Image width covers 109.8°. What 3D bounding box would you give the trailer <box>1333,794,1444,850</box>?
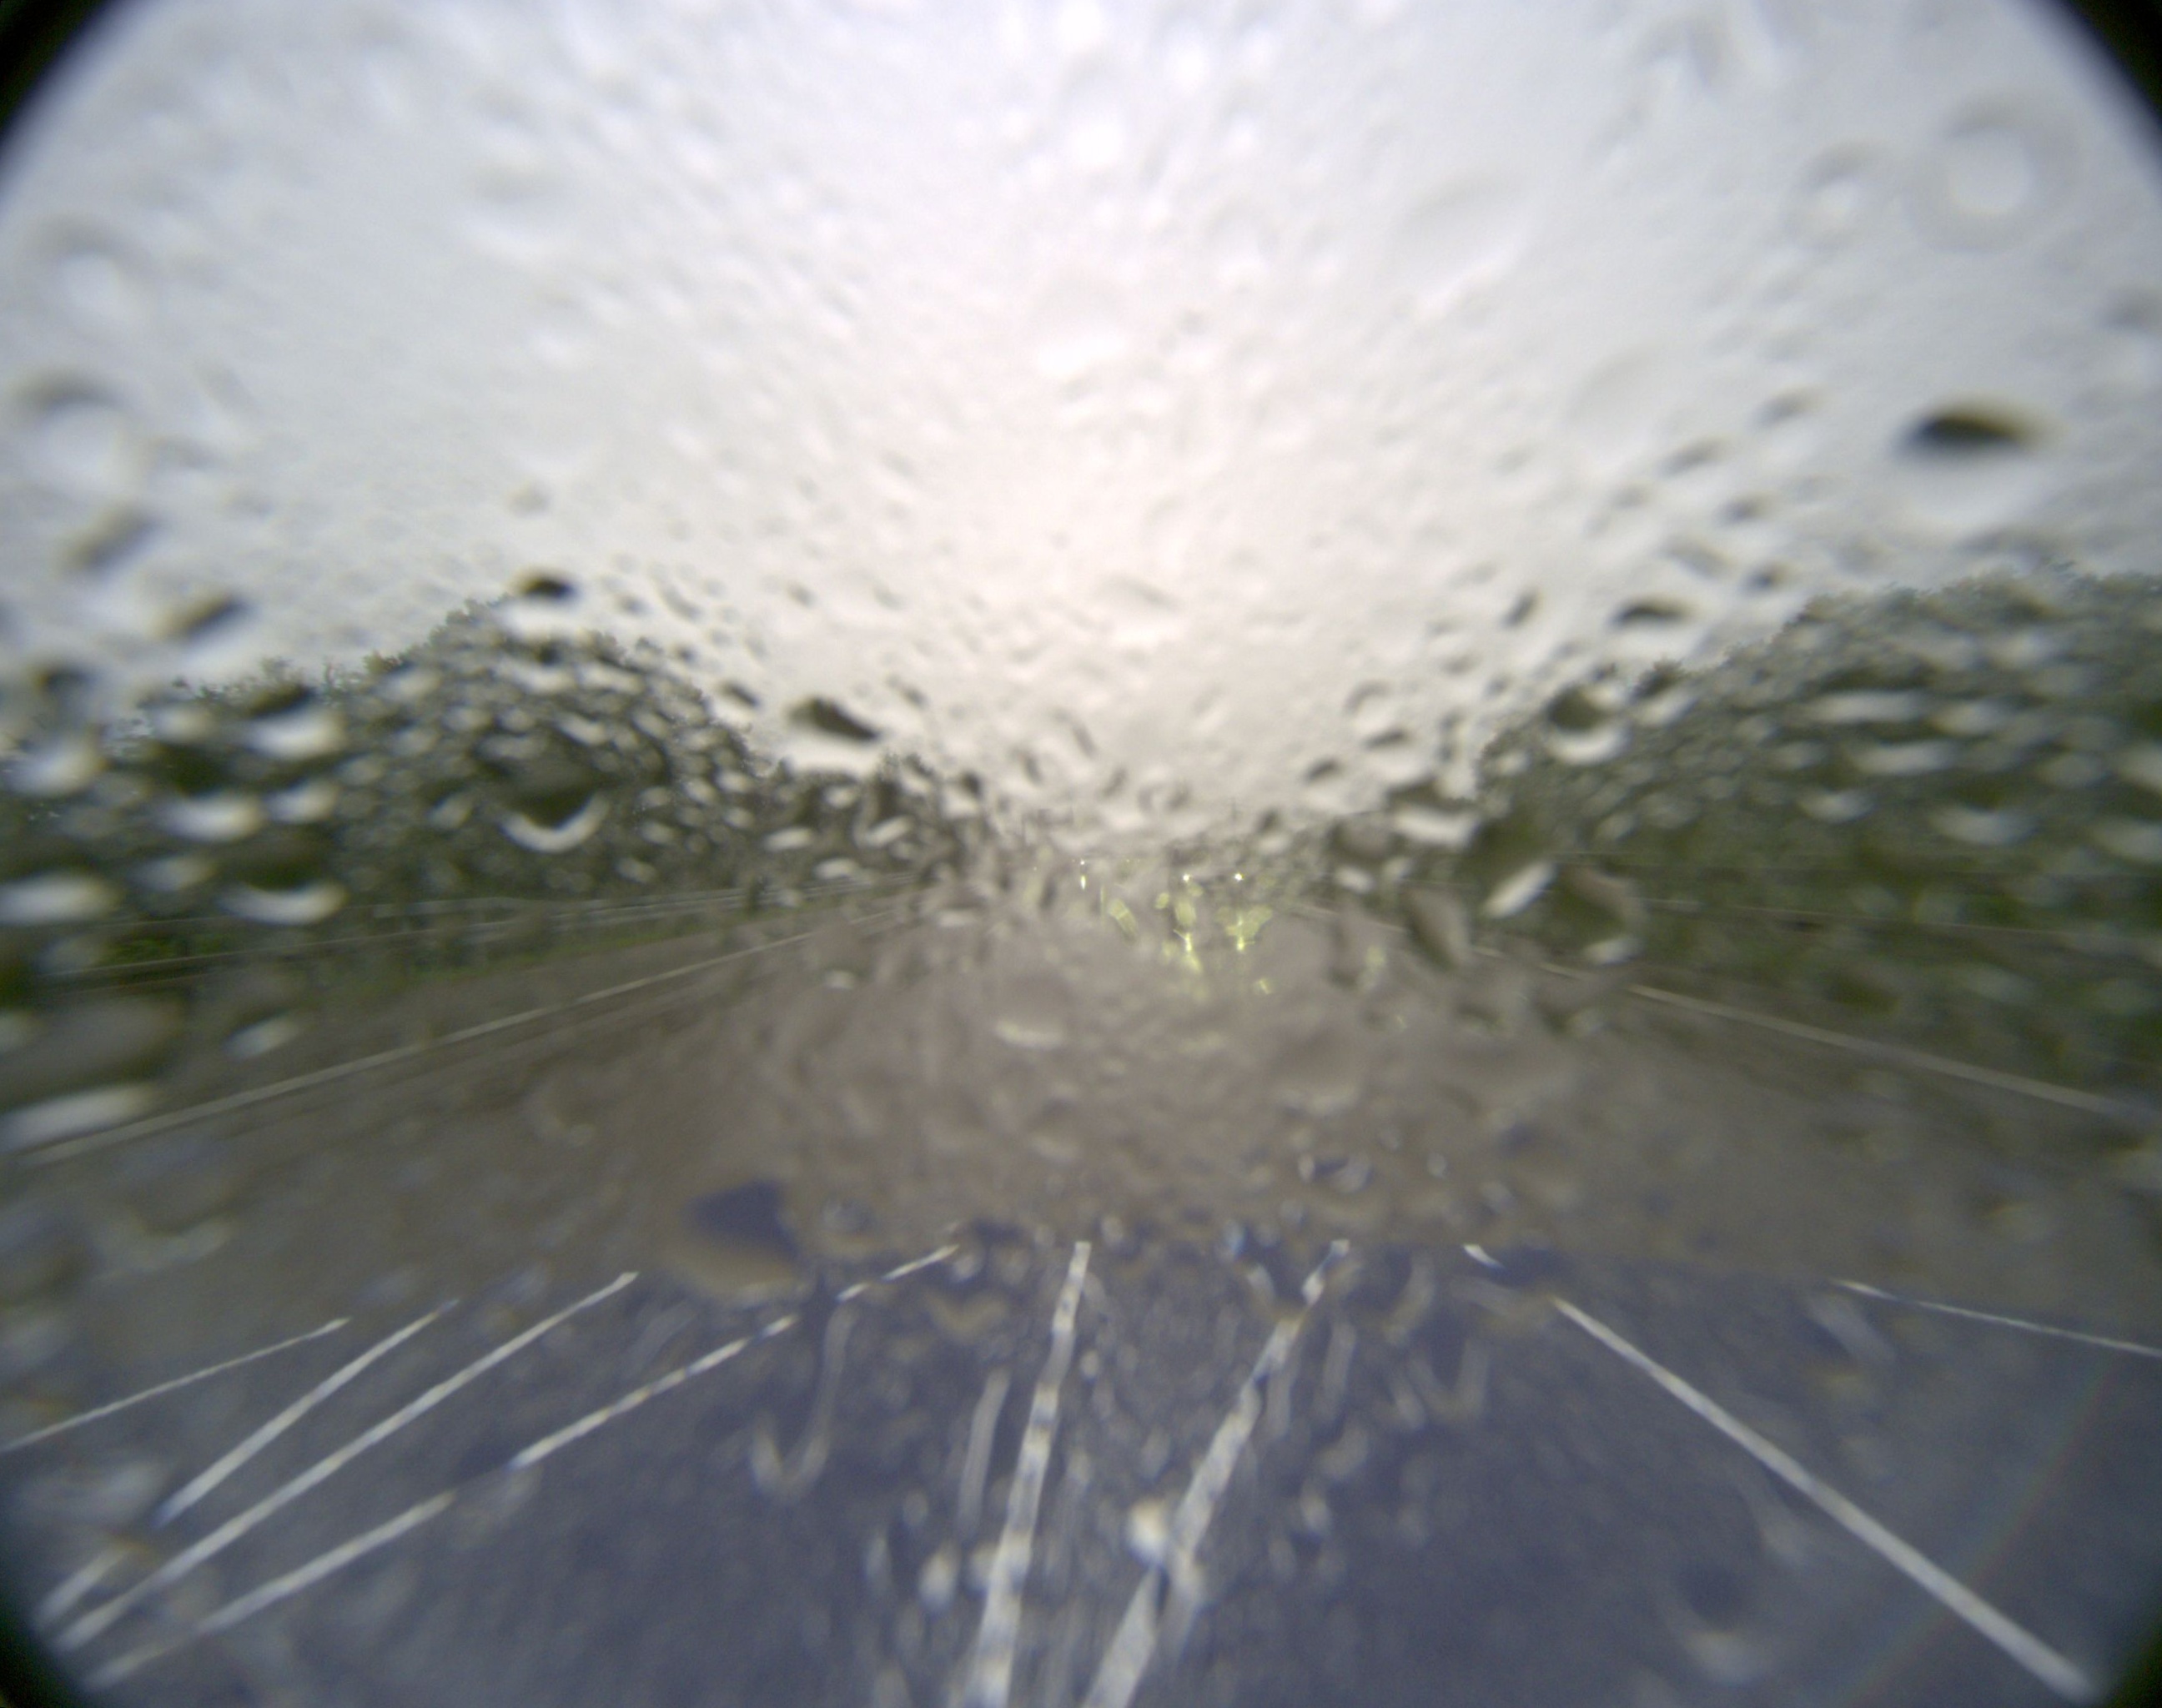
[{"bbox_3d":[21.940,-2.081,55.437,2.680,3.388,13.448,-4,0,1],"label":"trailer"}]

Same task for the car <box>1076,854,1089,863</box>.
[{"bbox_3d":[0.327,0.731,122.045,1.752,1.205,4.001,-5,0,4],"label":"car"}]

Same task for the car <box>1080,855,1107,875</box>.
[{"bbox_3d":[0.961,0.805,57.611,1.752,1.406,4.001,-4,0,4],"label":"car"}]

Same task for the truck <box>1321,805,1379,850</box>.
[{"bbox_3d":[22.067,-2.085,62.648,2.673,3.397,5.527,-4,0,1],"label":"truck"}]

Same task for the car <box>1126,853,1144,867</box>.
[{"bbox_3d":[5.671,0.604,80.530,1.752,1.369,4.001,-4,0,4],"label":"car"}]

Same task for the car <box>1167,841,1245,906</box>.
[{"bbox_3d":[3.742,0.528,23.389,2.046,1.763,4.502,-2,0,6],"label":"car"}]

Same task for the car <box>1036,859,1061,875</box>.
[{"bbox_3d":[-2.878,1.154,67.808,1.752,1.205,4.001,-5,0,4],"label":"car"}]
